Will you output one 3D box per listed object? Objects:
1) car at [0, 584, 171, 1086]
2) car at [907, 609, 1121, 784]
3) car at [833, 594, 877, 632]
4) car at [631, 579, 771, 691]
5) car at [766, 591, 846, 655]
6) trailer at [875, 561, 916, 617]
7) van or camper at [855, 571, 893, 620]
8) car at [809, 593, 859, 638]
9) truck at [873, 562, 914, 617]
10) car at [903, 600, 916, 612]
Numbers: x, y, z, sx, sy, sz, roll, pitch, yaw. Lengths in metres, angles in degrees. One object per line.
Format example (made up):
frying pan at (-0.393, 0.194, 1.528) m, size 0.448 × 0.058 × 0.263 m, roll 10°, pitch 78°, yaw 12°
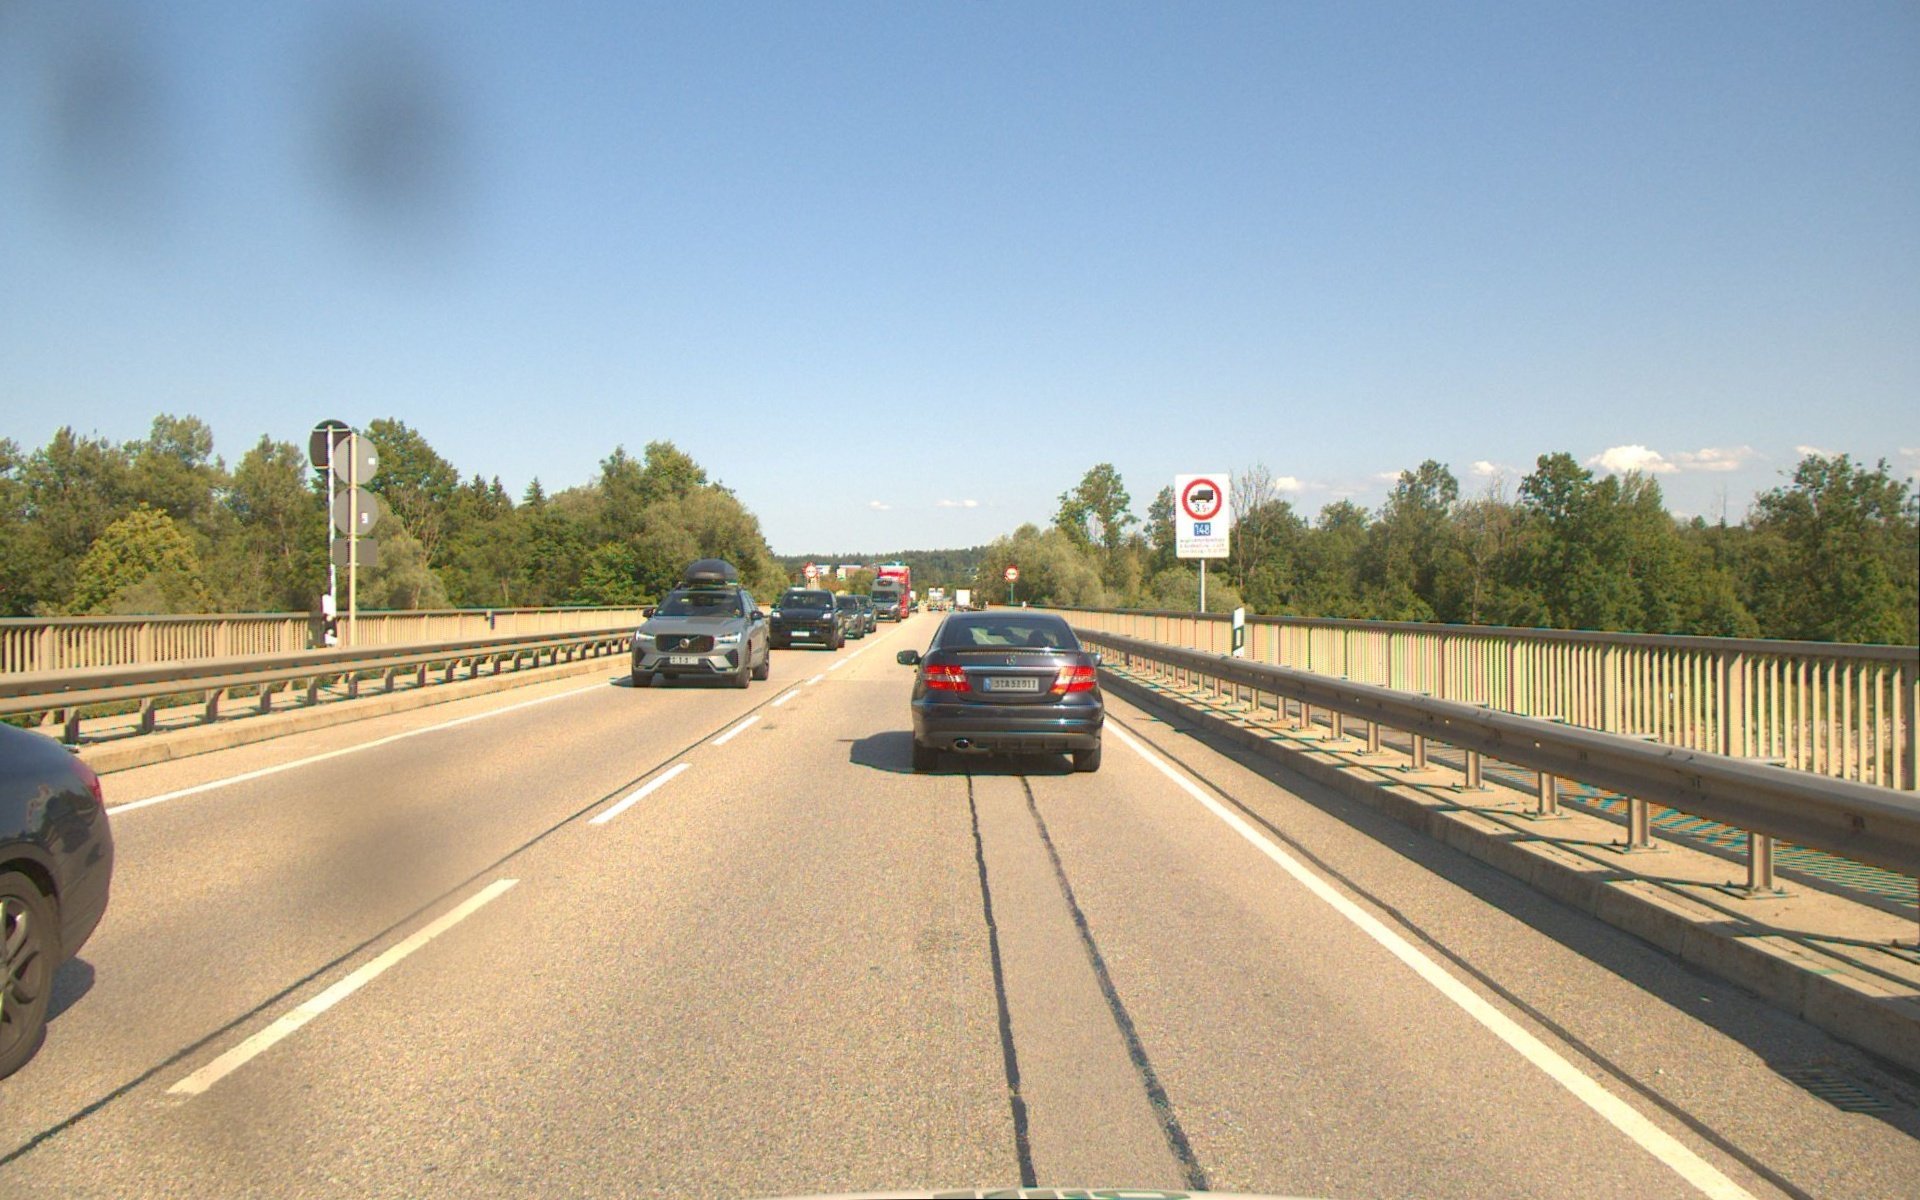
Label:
car at (-3.645, 0.679, 3.650) m, size 1.729 × 1.472 × 4.455 m, roll 1°, pitch 0°, yaw -1°
car at (0.459, 0.804, 15.611) m, size 1.756 × 1.400 × 4.000 m, roll 1°, pitch 0°, yaw 0°
car at (-4.641, 0.567, 73.428) m, size 1.837 × 1.611 × 4.272 m, roll 1°, pitch 0°, yaw -3°
car at (-4.341, 0.556, 28.362) m, size 1.817 × 1.752 × 4.564 m, roll 1°, pitch 0°, yaw -2°
car at (-4.445, 0.634, 48.476) m, size 2.012 × 1.681 × 4.719 m, roll 2°, pitch 0°, yaw -2°
trailer at (-5.381, -0.888, 140.169) m, size 2.848 × 4.377 × 14.300 m, roll 1°, pitch 0°, yaw 0°
van or camper at (-5.594, -0.279, 108.342) m, size 2.268 × 3.104 × 6.814 m, roll 1°, pitch 0°, yaw -2°
car at (-4.703, 0.564, 61.754) m, size 1.771 × 1.605 × 4.197 m, roll 1°, pitch 0°, yaw -4°
truck at (-5.274, -0.827, 132.015) m, size 2.848 × 4.258 × 5.713 m, roll 1°, pitch 0°, yaw 1°
car at (-6.850, 0.846, 225.524) m, size 1.804 × 1.671 × 4.575 m, roll 0°, pitch 0°, yaw -2°
